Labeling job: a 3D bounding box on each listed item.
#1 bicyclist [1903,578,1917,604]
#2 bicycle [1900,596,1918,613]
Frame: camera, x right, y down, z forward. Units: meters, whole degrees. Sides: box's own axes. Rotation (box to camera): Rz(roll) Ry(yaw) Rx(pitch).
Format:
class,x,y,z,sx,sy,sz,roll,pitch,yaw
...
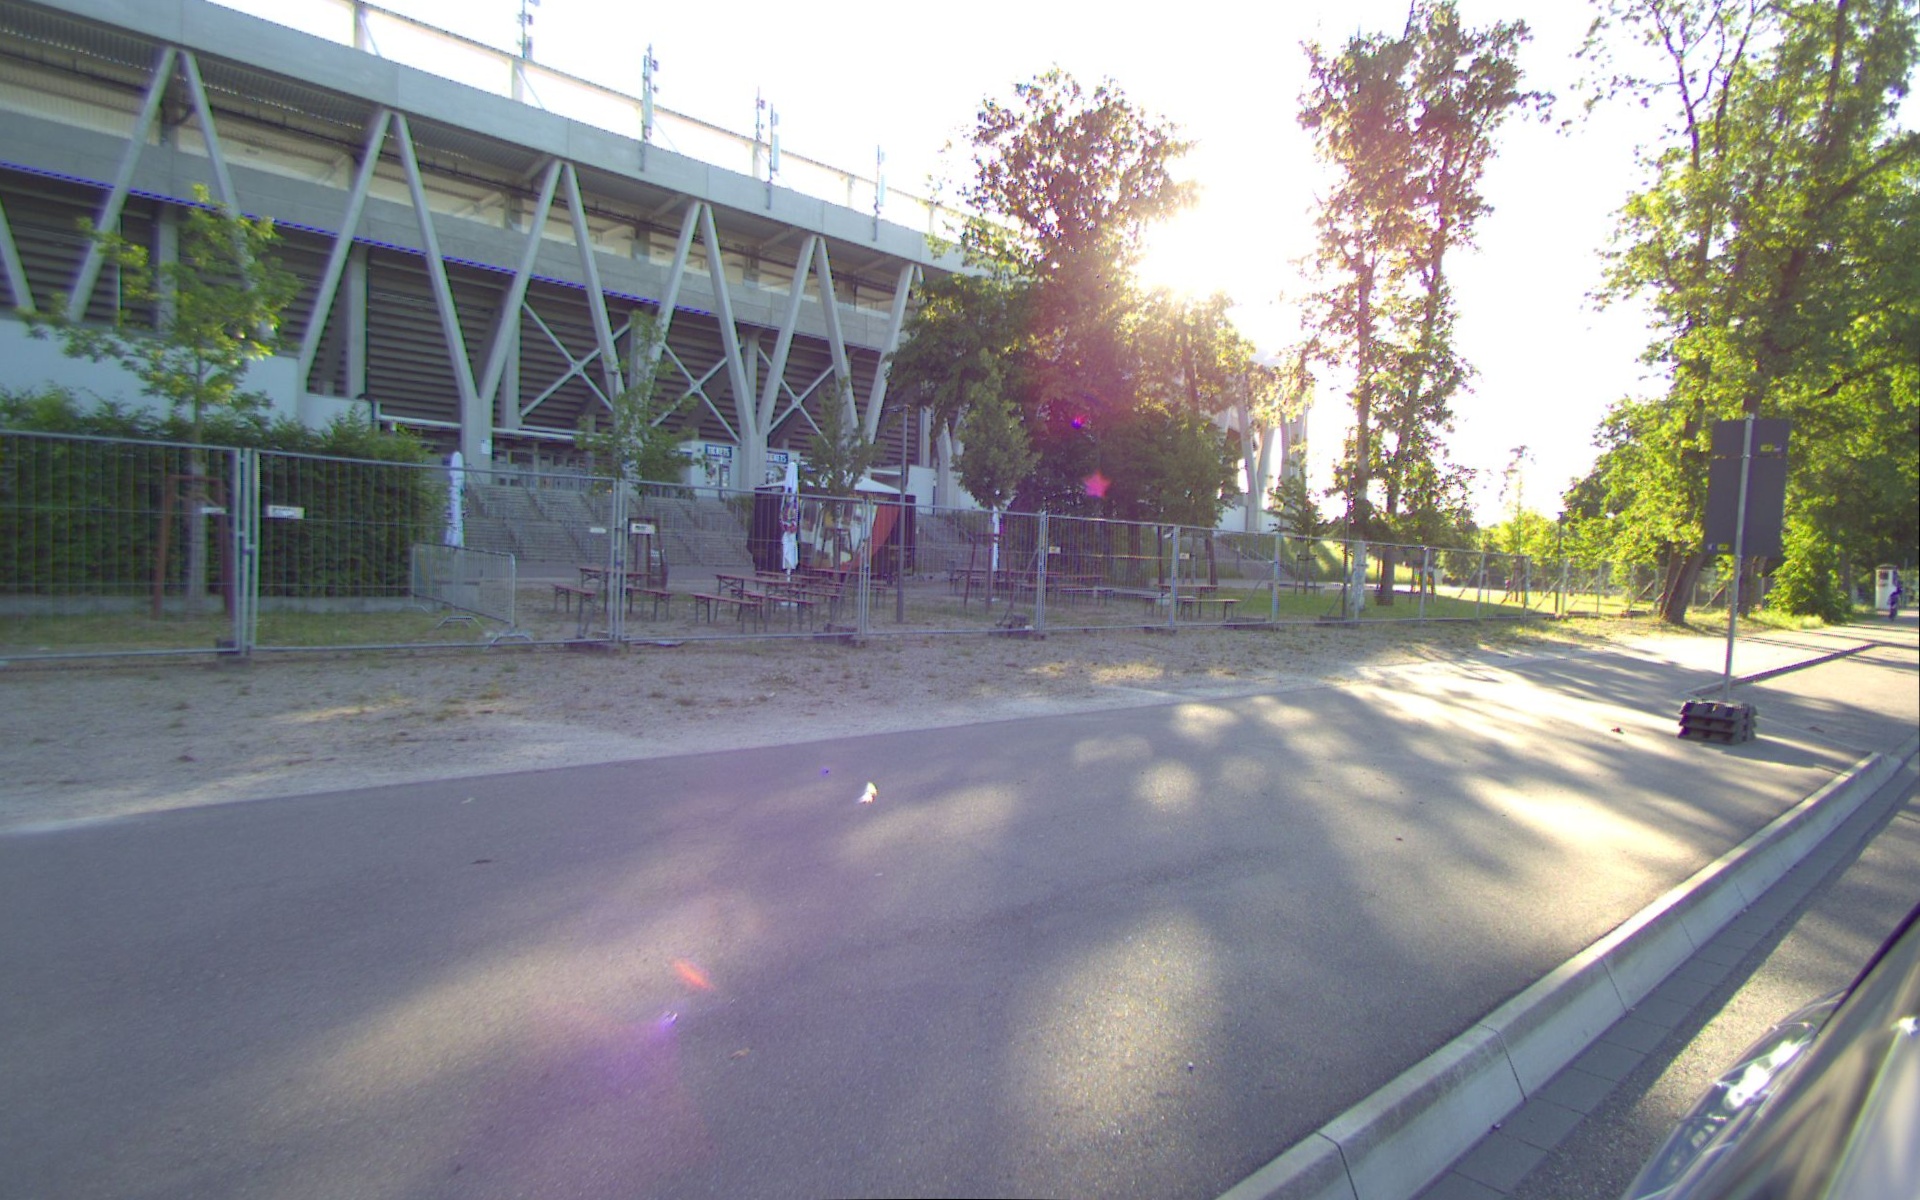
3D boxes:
class,x,y,z,sx,sy,sz,roll,pitch,yaw
bicyclist,51.406,-0.490,54.761,0.565,1.438,0.451,0,2,-40
bicycle,51.338,0.251,54.745,1.876,0.869,0.481,0,2,-41
